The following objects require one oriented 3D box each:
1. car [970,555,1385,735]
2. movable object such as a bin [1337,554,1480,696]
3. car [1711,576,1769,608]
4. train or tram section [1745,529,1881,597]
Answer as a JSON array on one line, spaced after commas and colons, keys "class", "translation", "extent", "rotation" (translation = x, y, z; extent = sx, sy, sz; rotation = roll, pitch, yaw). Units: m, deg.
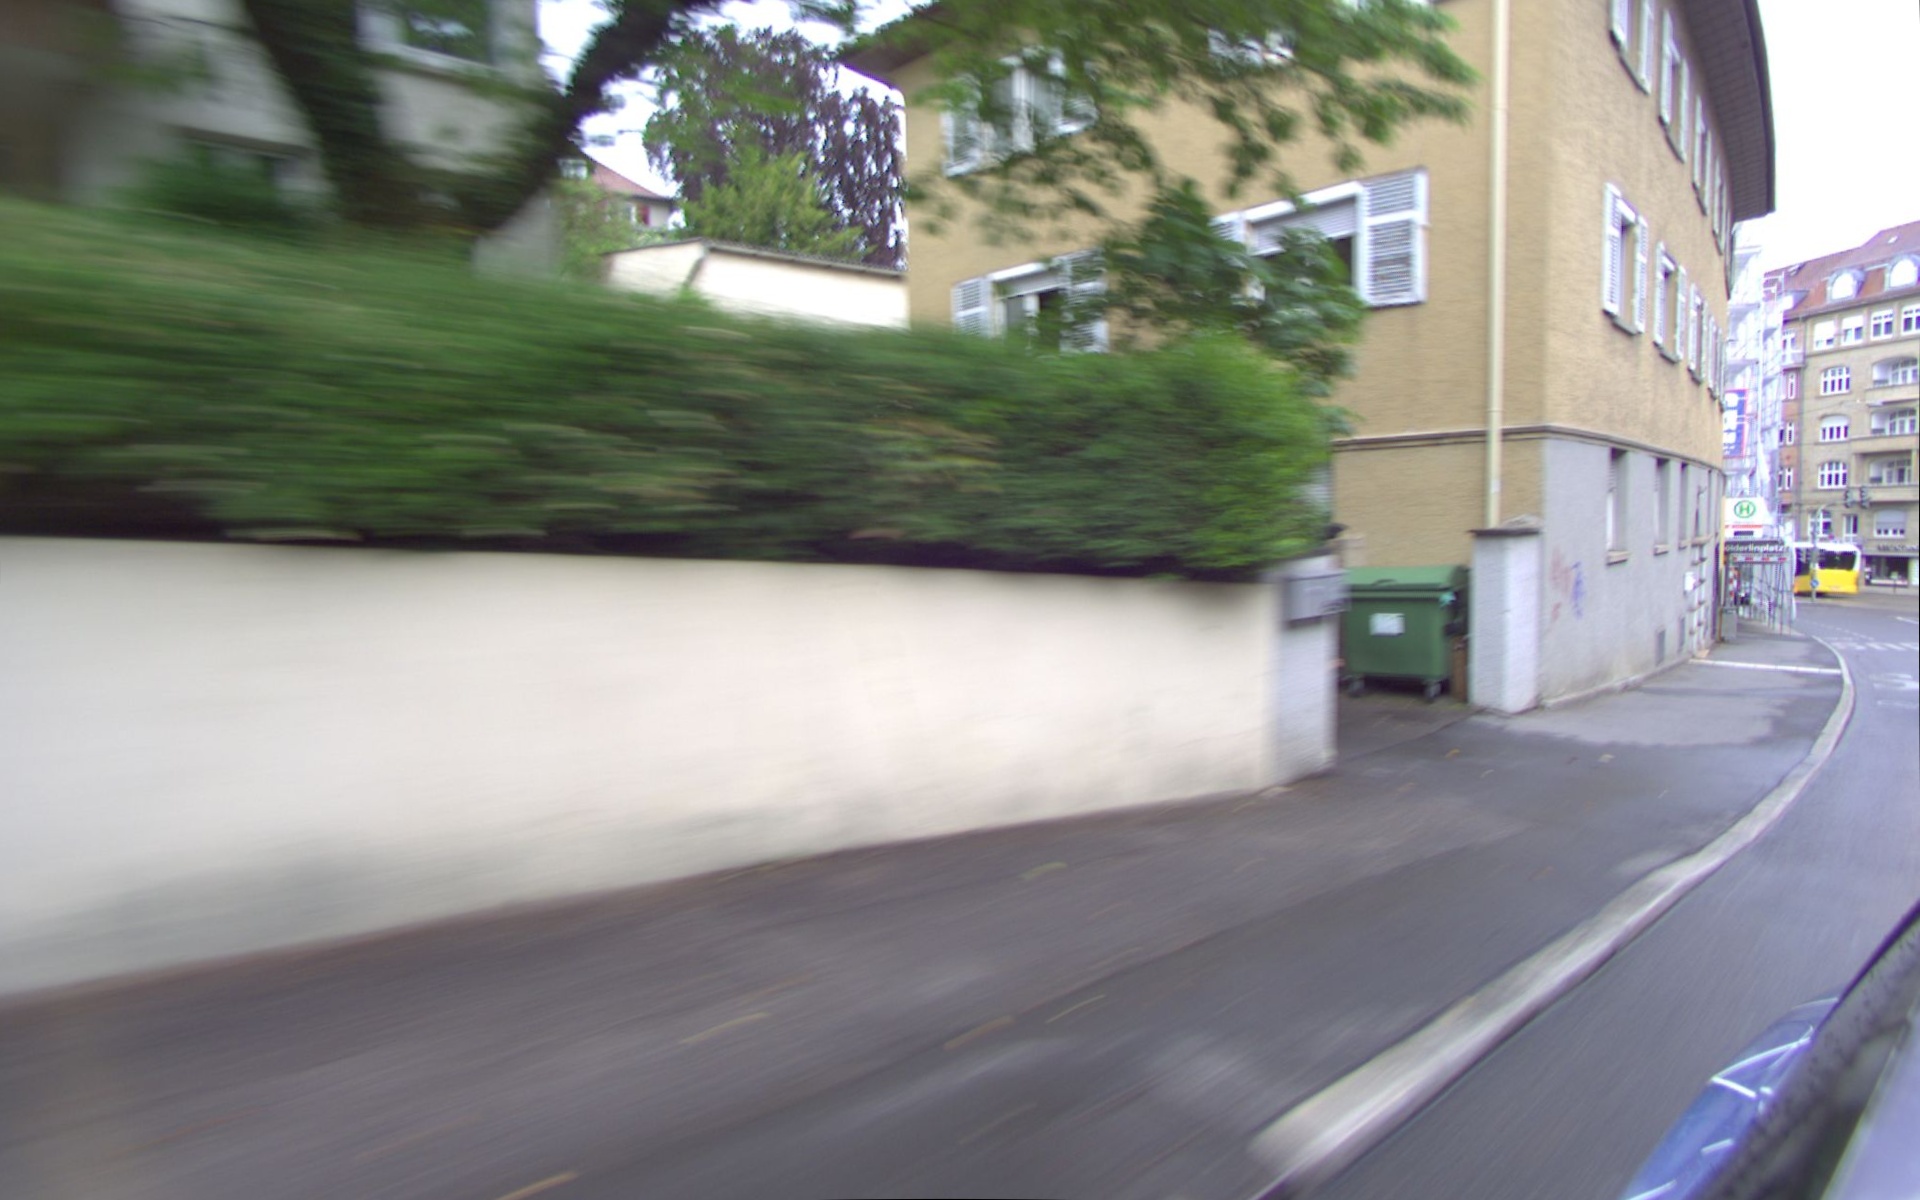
[{"class": "car", "translation": [2.275, 0.370, 11.525], "extent": [1.966, 1.594, 4.297], "rotation": [-4, 3, -40]}, {"class": "movable object such as a bin", "translation": [4.980, 0.260, 11.268], "extent": [1.251, 1.474, 0.813], "rotation": [-1, -1, 45]}, {"class": "car", "translation": [44.259, -0.445, 57.500], "extent": [1.880, 1.717, 3.962], "rotation": [-1, 0, 28]}, {"class": "train or tram section", "translation": [56.050, -2.599, 66.923], "extent": [3.046, 4.049, 9.765], "rotation": [0, 5, 16]}]
